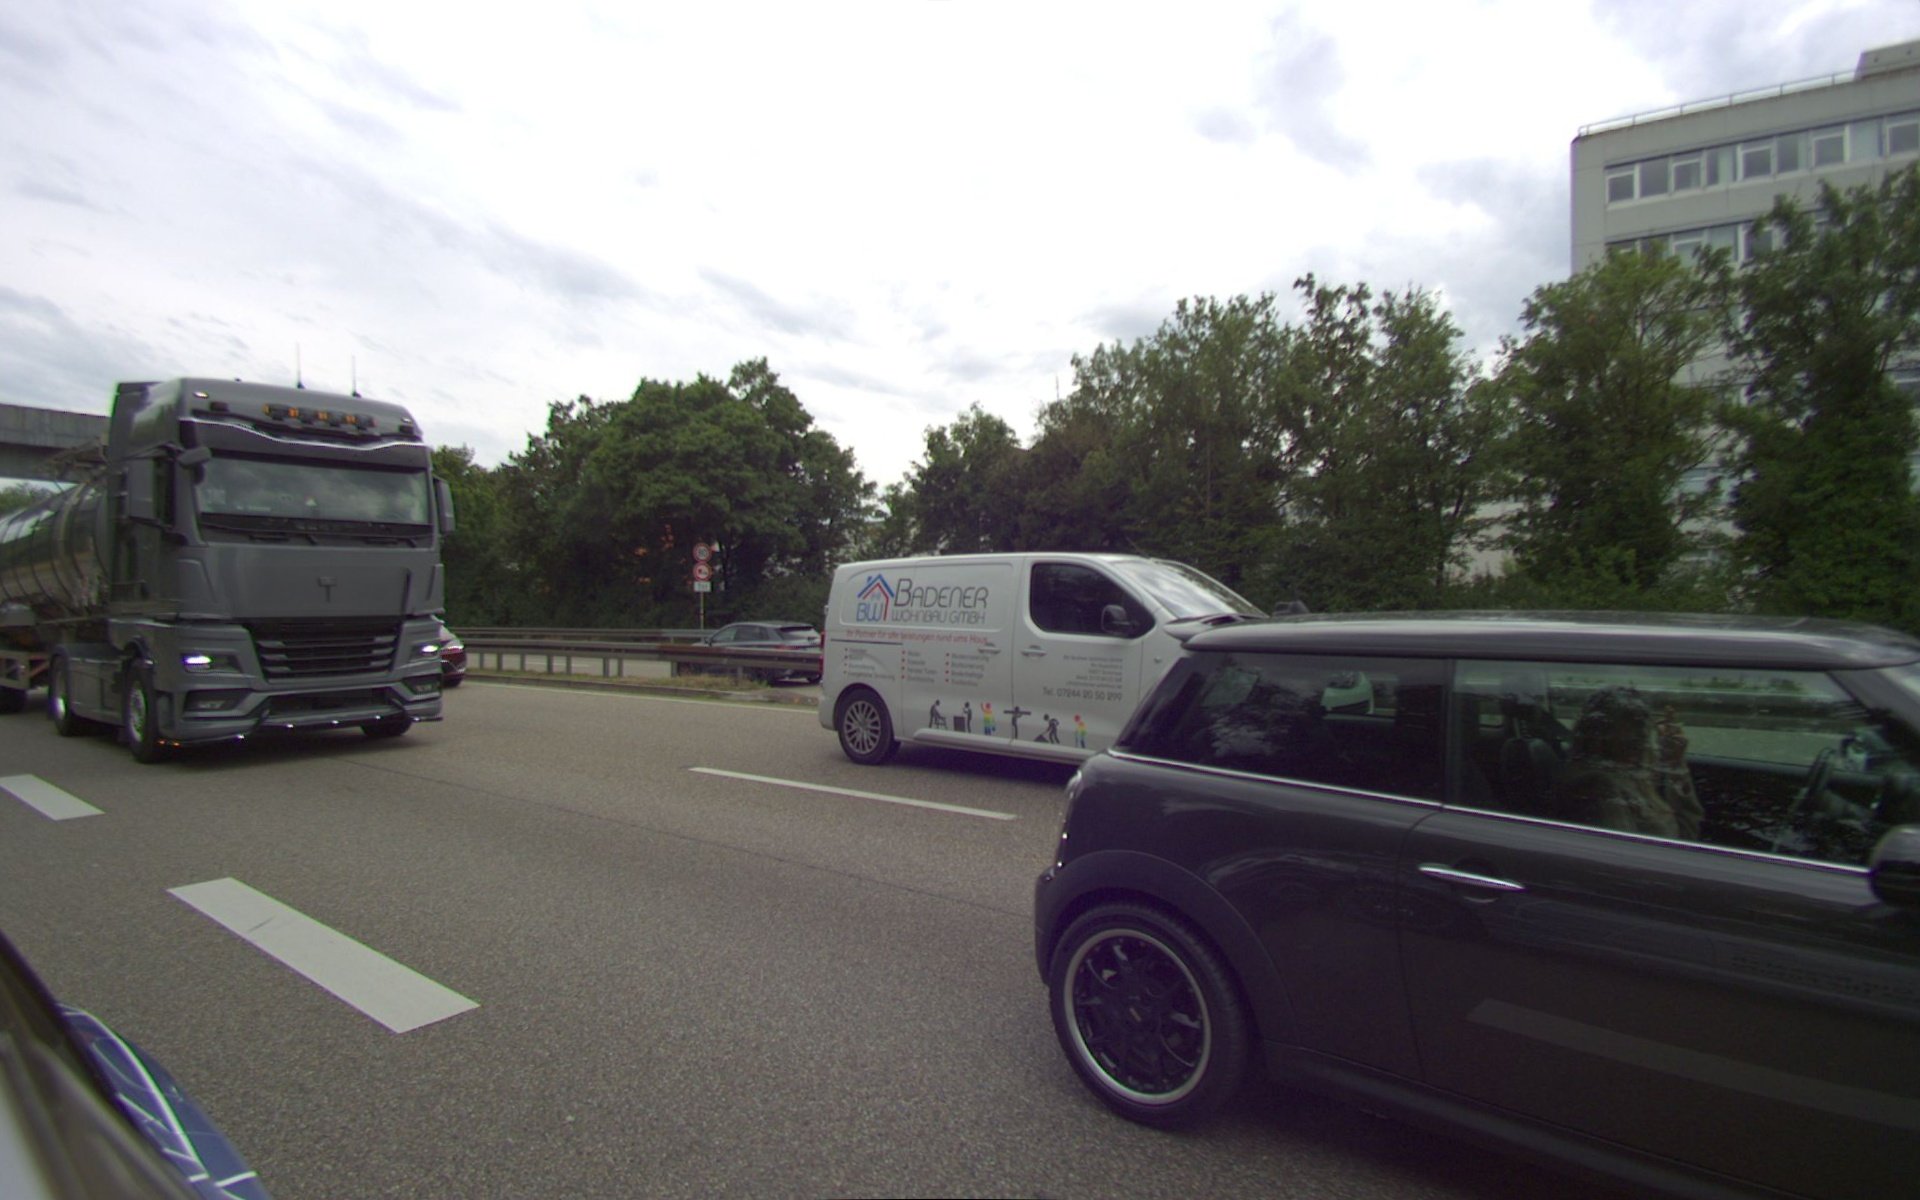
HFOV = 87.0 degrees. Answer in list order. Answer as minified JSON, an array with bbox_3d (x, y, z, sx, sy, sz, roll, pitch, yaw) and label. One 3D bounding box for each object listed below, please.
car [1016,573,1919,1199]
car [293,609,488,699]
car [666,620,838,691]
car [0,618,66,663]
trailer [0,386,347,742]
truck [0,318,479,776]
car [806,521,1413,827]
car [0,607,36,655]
[{"bbox_3d":[2.116,0.672,2.495,3.661,1.432,1.730,-1,-1,40],"label":"car"},{"bbox_3d":[-10.741,0.952,18.971,4.463,1.509,1.659,-1,-2,39],"label":"car"},{"bbox_3d":[-4.786,1.196,23.075,3.994,1.476,1.656,-1,-1,37],"label":"car"},{"bbox_3d":[-33.383,1.380,35.259,5.242,1.475,2.042,-1,-1,33],"label":"car"},{"bbox_3d":[-13.217,-0.307,15.604,10.970,3.937,2.658,-1,-1,38],"label":"trailer"},{"bbox_3d":[-8.702,-0.399,11.854,6.924,3.937,2.658,-1,-1,37],"label":"truck"},{"bbox_3d":[1.004,0.502,8.588,4.873,1.906,1.832,-1,-1,40],"label":"car"},{"bbox_3d":[-39.472,1.237,41.070,4.995,1.864,1.831,-1,-2,35],"label":"car"}]
